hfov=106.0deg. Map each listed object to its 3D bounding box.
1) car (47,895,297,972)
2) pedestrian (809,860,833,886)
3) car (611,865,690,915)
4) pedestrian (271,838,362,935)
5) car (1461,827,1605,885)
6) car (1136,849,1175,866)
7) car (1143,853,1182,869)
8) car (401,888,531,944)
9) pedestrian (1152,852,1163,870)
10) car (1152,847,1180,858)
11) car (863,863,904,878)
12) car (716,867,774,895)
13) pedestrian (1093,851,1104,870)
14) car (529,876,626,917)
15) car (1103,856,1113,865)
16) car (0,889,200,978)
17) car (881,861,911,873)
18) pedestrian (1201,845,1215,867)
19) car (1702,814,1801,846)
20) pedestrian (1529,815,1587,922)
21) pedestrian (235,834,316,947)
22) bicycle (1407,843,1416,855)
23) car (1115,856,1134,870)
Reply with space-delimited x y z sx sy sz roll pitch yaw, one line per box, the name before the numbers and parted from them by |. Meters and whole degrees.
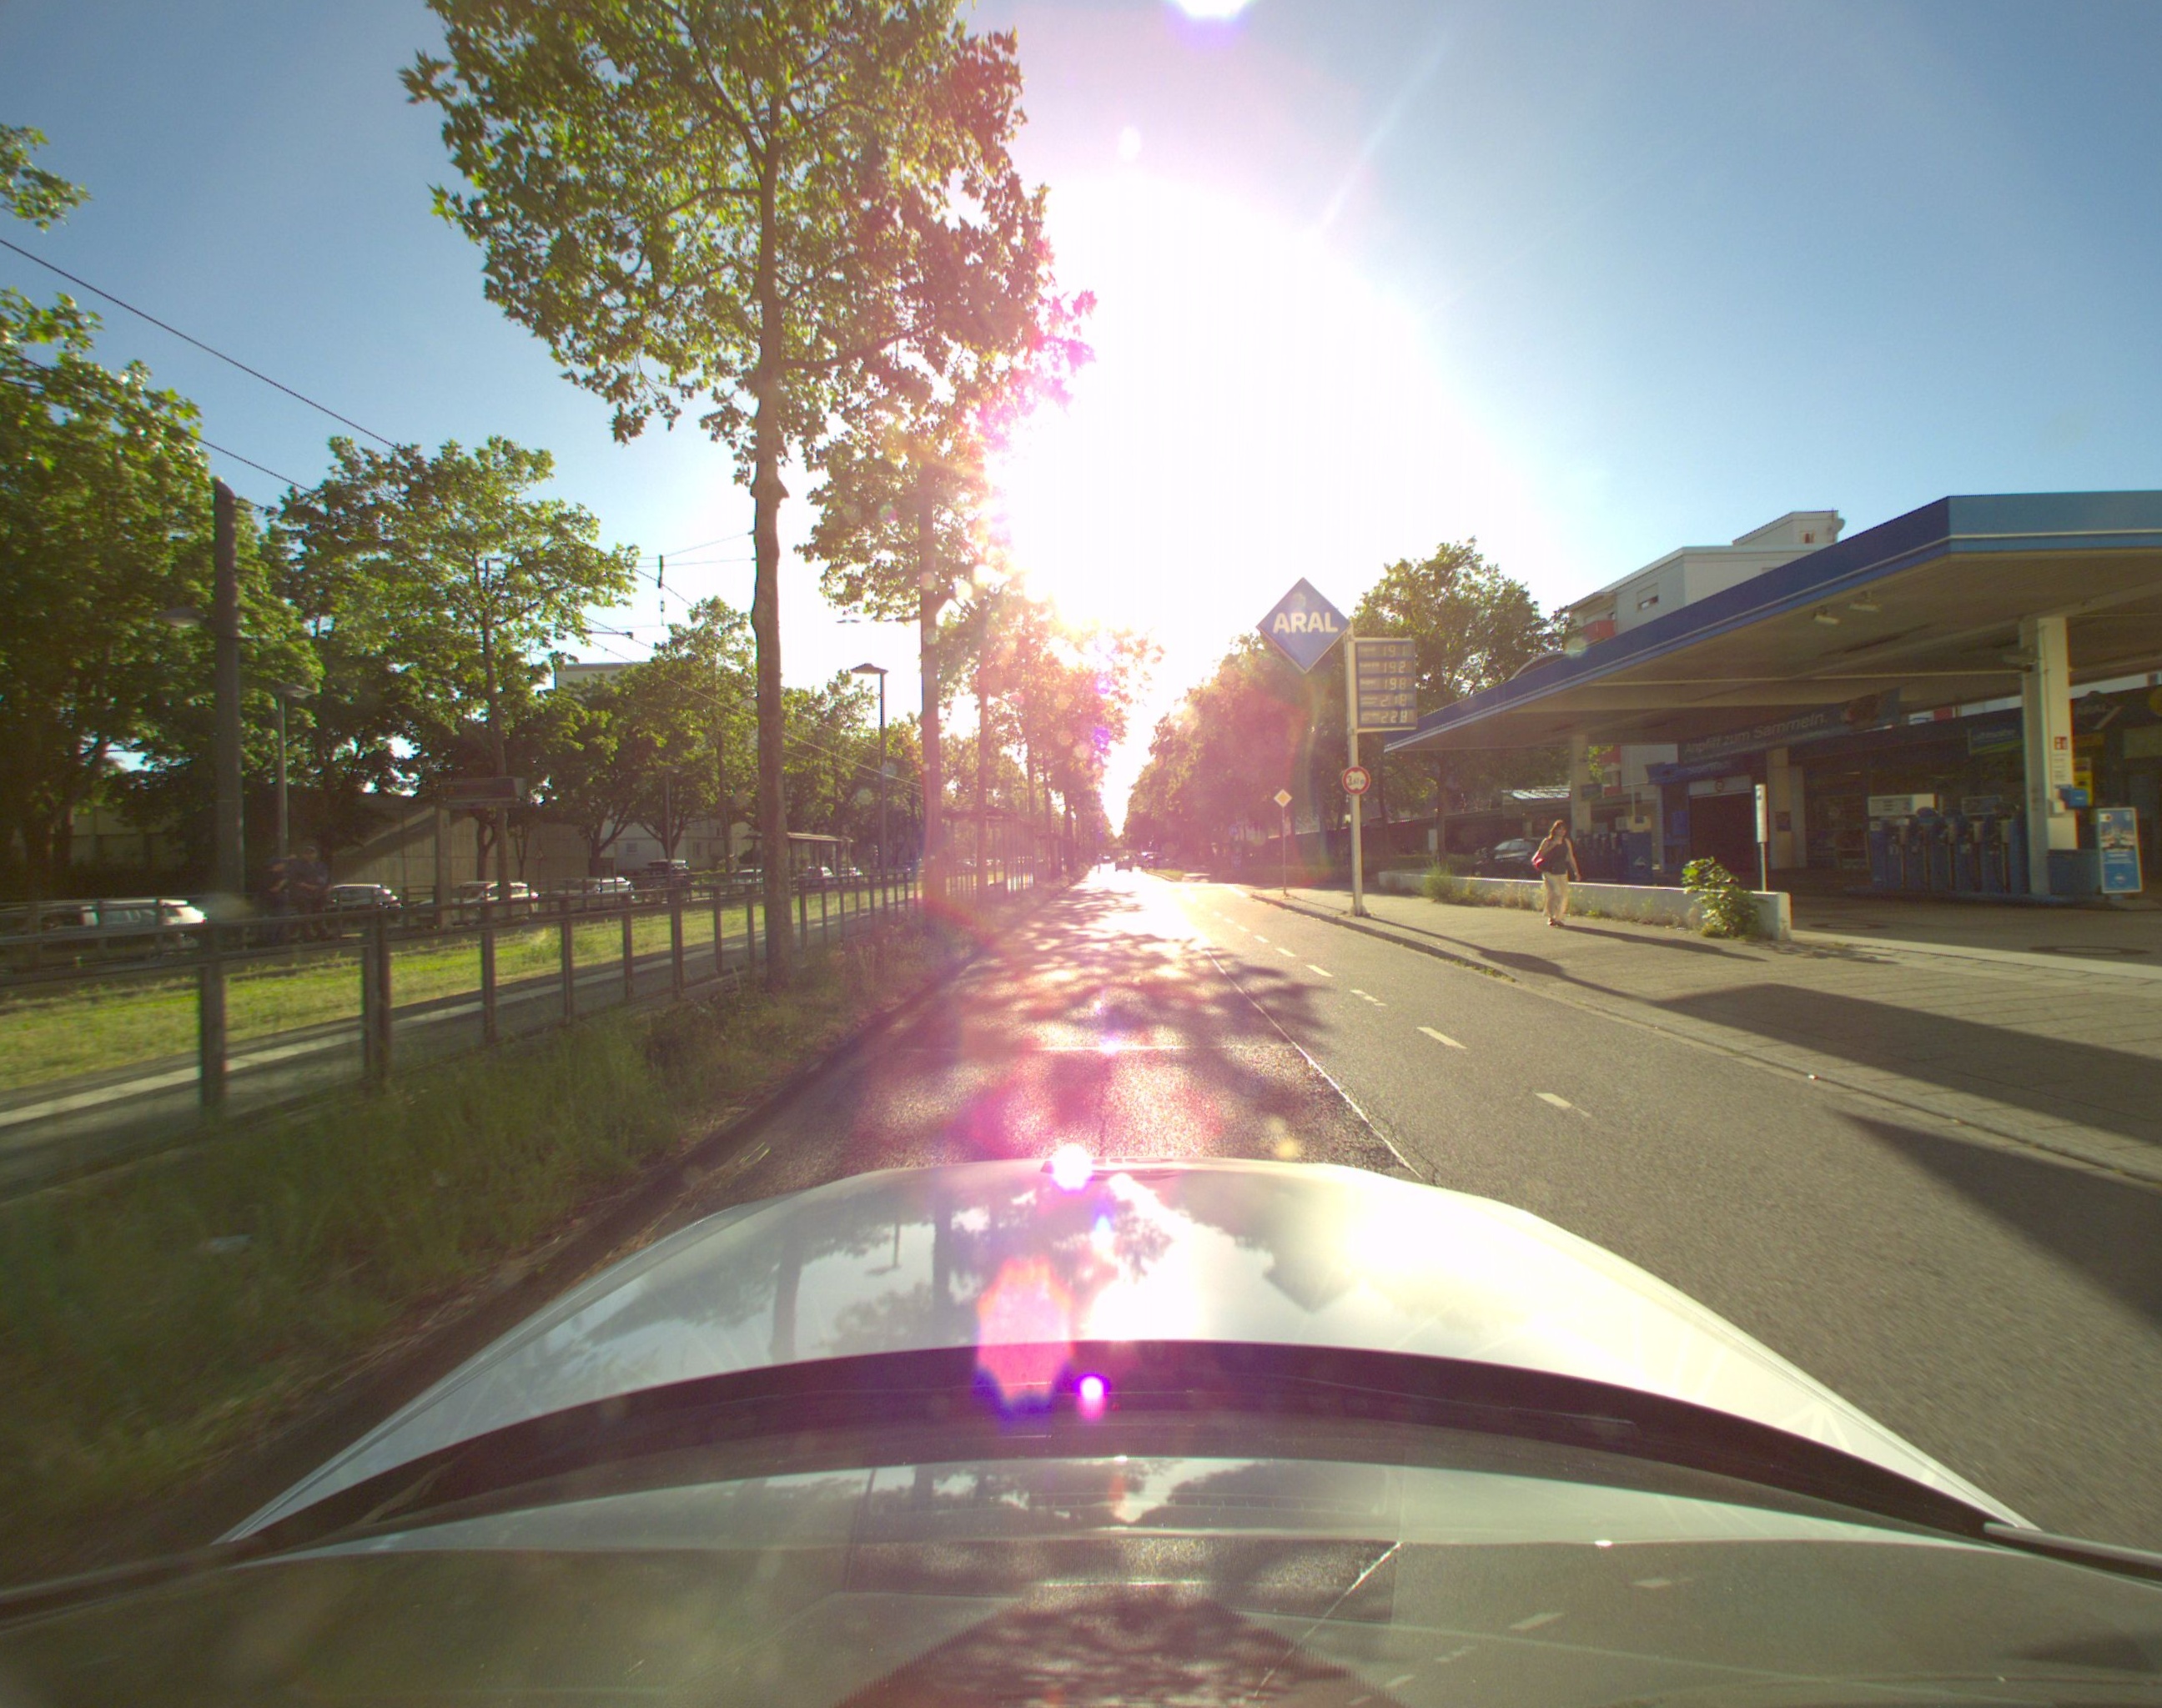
car | -22.066 1.866 20.038 1.587 1.444 3.933 -2 0 3
pedestrian | -13.162 0.960 41.206 0.829 1.260 0.805 -1 0 30
car | -21.512 1.734 40.900 1.708 2.262 3.934 -2 0 1
pedestrian | -13.778 0.570 14.696 0.879 1.689 0.755 -1 0 2
car | 13.013 0.051 23.770 1.717 1.463 3.999 -3 0 -4
car | 9.253 0.427 101.085 4.694 1.853 1.809 -3 0 -38
car | 9.078 0.767 90.681 4.011 1.469 1.744 -4 0 -30
car | -22.041 2.166 29.400 1.588 1.636 3.931 -2 0 1
pedestrian | 7.477 0.693 79.141 0.715 1.706 0.647 -3 -1 -33
car | 12.622 -0.274 121.420 4.208 1.412 1.700 -3 0 -42
car | -21.314 1.777 87.874 1.817 1.435 3.849 -2 0 42
car | -21.114 1.677 51.375 1.706 1.546 3.938 -2 0 4
pedestrian | 1.644 0.616 76.650 0.835 1.722 0.834 -2 0 17
car | -21.673 1.775 35.233 1.588 1.488 4.021 -2 0 1
car | 5.046 1.176 150.744 1.842 1.535 3.869 -2 0 2
car | -19.862 1.504 15.574 1.587 1.444 3.933 -2 0 3
car | -28.746 1.962 126.524 4.106 1.646 1.632 -2 -2 -40
pedestrian | 11.214 0.184 71.796 0.926 1.885 0.797 -2 0 -12
car | 35.174 -1.243 42.882 1.863 1.503 4.114 -2 0 1
pedestrian | 7.755 0.232 13.266 0.601 1.701 0.553 -2 0 6
pedestrian | -13.714 0.610 13.881 0.717 1.867 0.637 -1 0 2
bicycle | 33.244 -0.548 82.009 0.591 1.179 1.862 -1 0 29
car | 4.543 0.926 85.834 1.915 1.411 4.001 -1 0 1
